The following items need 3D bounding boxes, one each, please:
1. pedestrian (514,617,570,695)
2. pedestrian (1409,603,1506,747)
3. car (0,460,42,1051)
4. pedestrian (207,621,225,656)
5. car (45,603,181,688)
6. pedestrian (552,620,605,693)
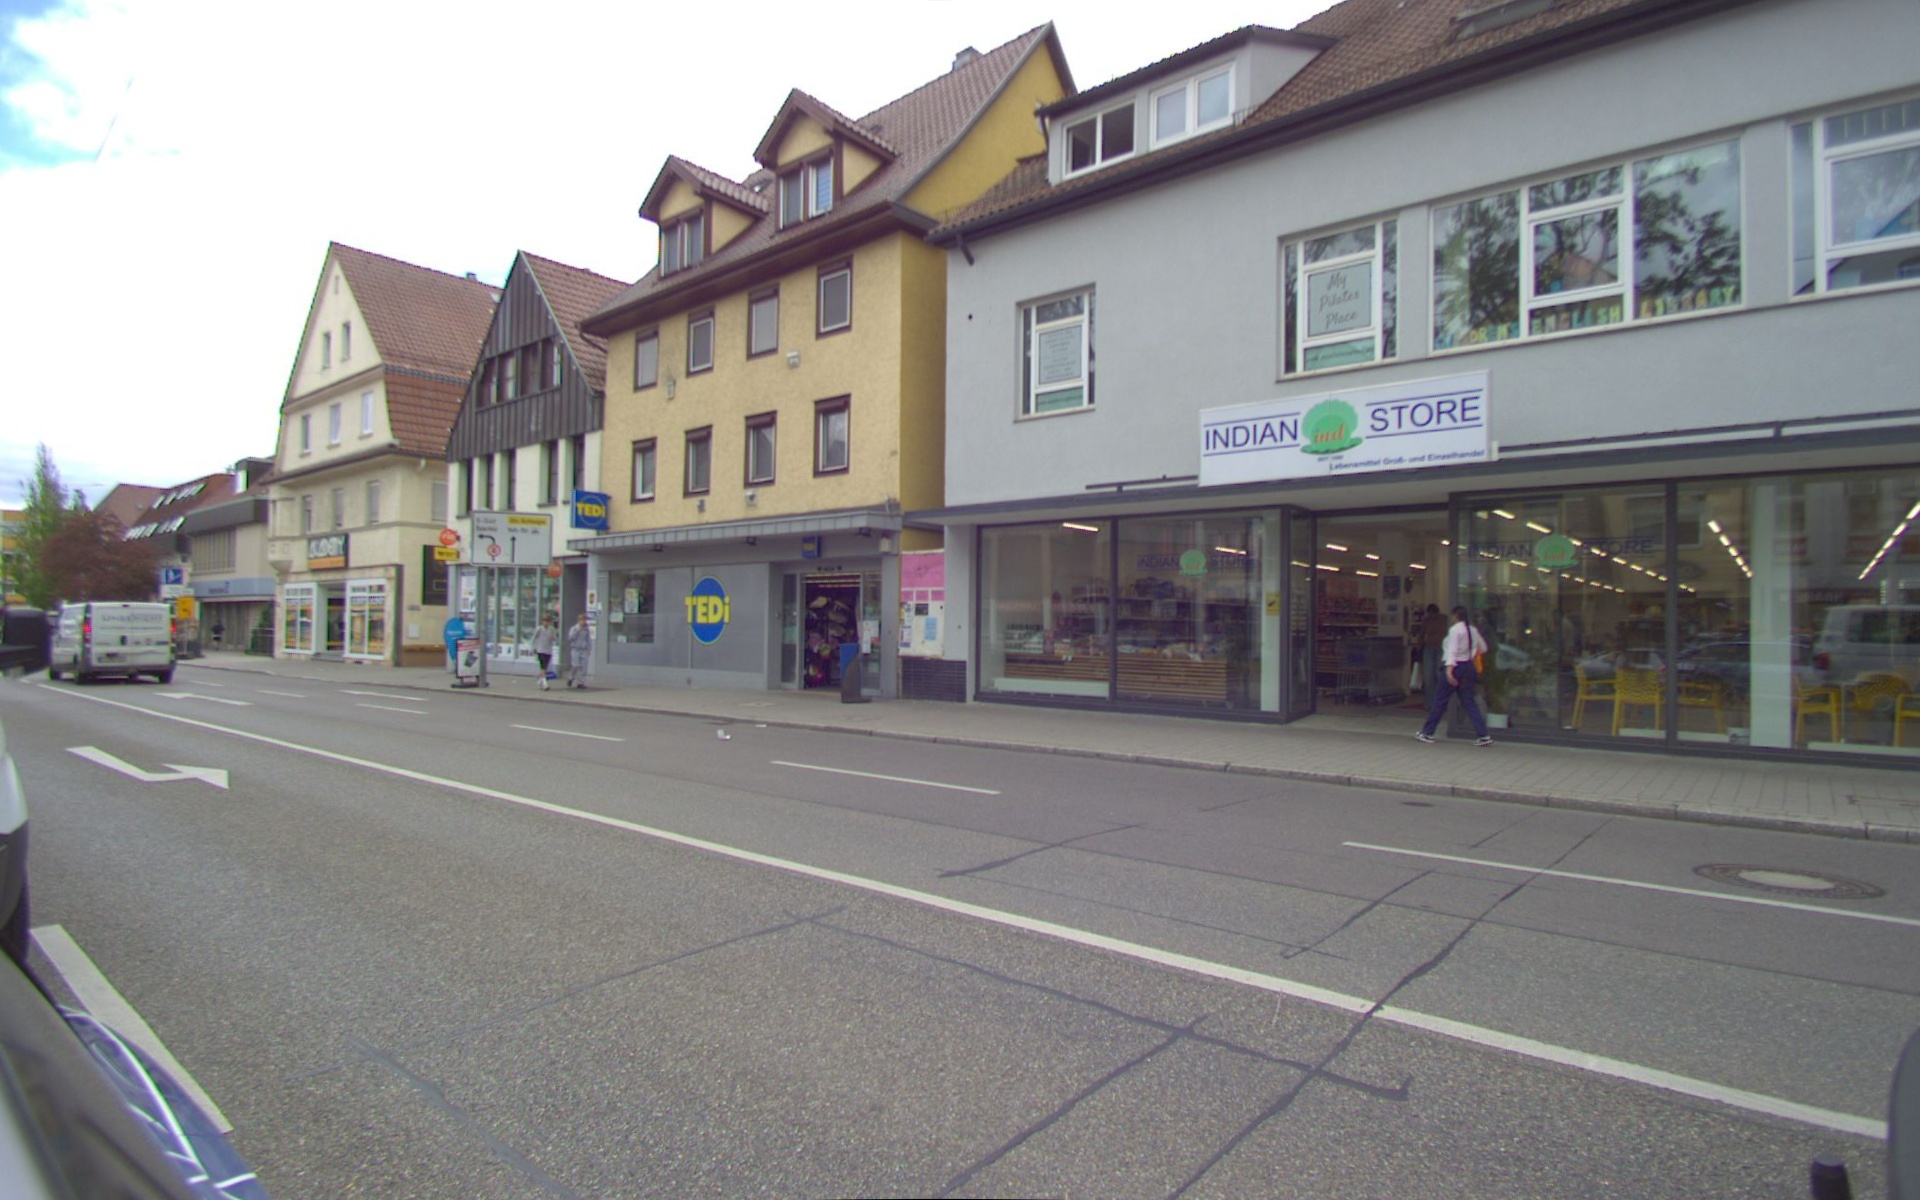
[{"bbox_3d":[-9.216,1.223,22.318,0.920,1.674,0.801,-2,-2,42],"label":"pedestrian"},{"bbox_3d":[5.763,0.844,11.720,0.835,1.592,0.726,2,-3,-41],"label":"pedestrian"},{"bbox_3d":[-5.974,0.589,4.675,5.777,1.994,1.915,-2,0,41],"label":"car"},{"bbox_3d":[-42.031,2.166,57.171,0.678,1.917,0.665,-2,-2,41],"label":"pedestrian"},{"bbox_3d":[-21.340,1.107,25.441,4.523,1.958,1.885,-2,-2,41],"label":"car"},{"bbox_3d":[-8.640,1.265,22.925,0.920,1.595,0.801,-2,-2,42],"label":"pedestrian"}]
